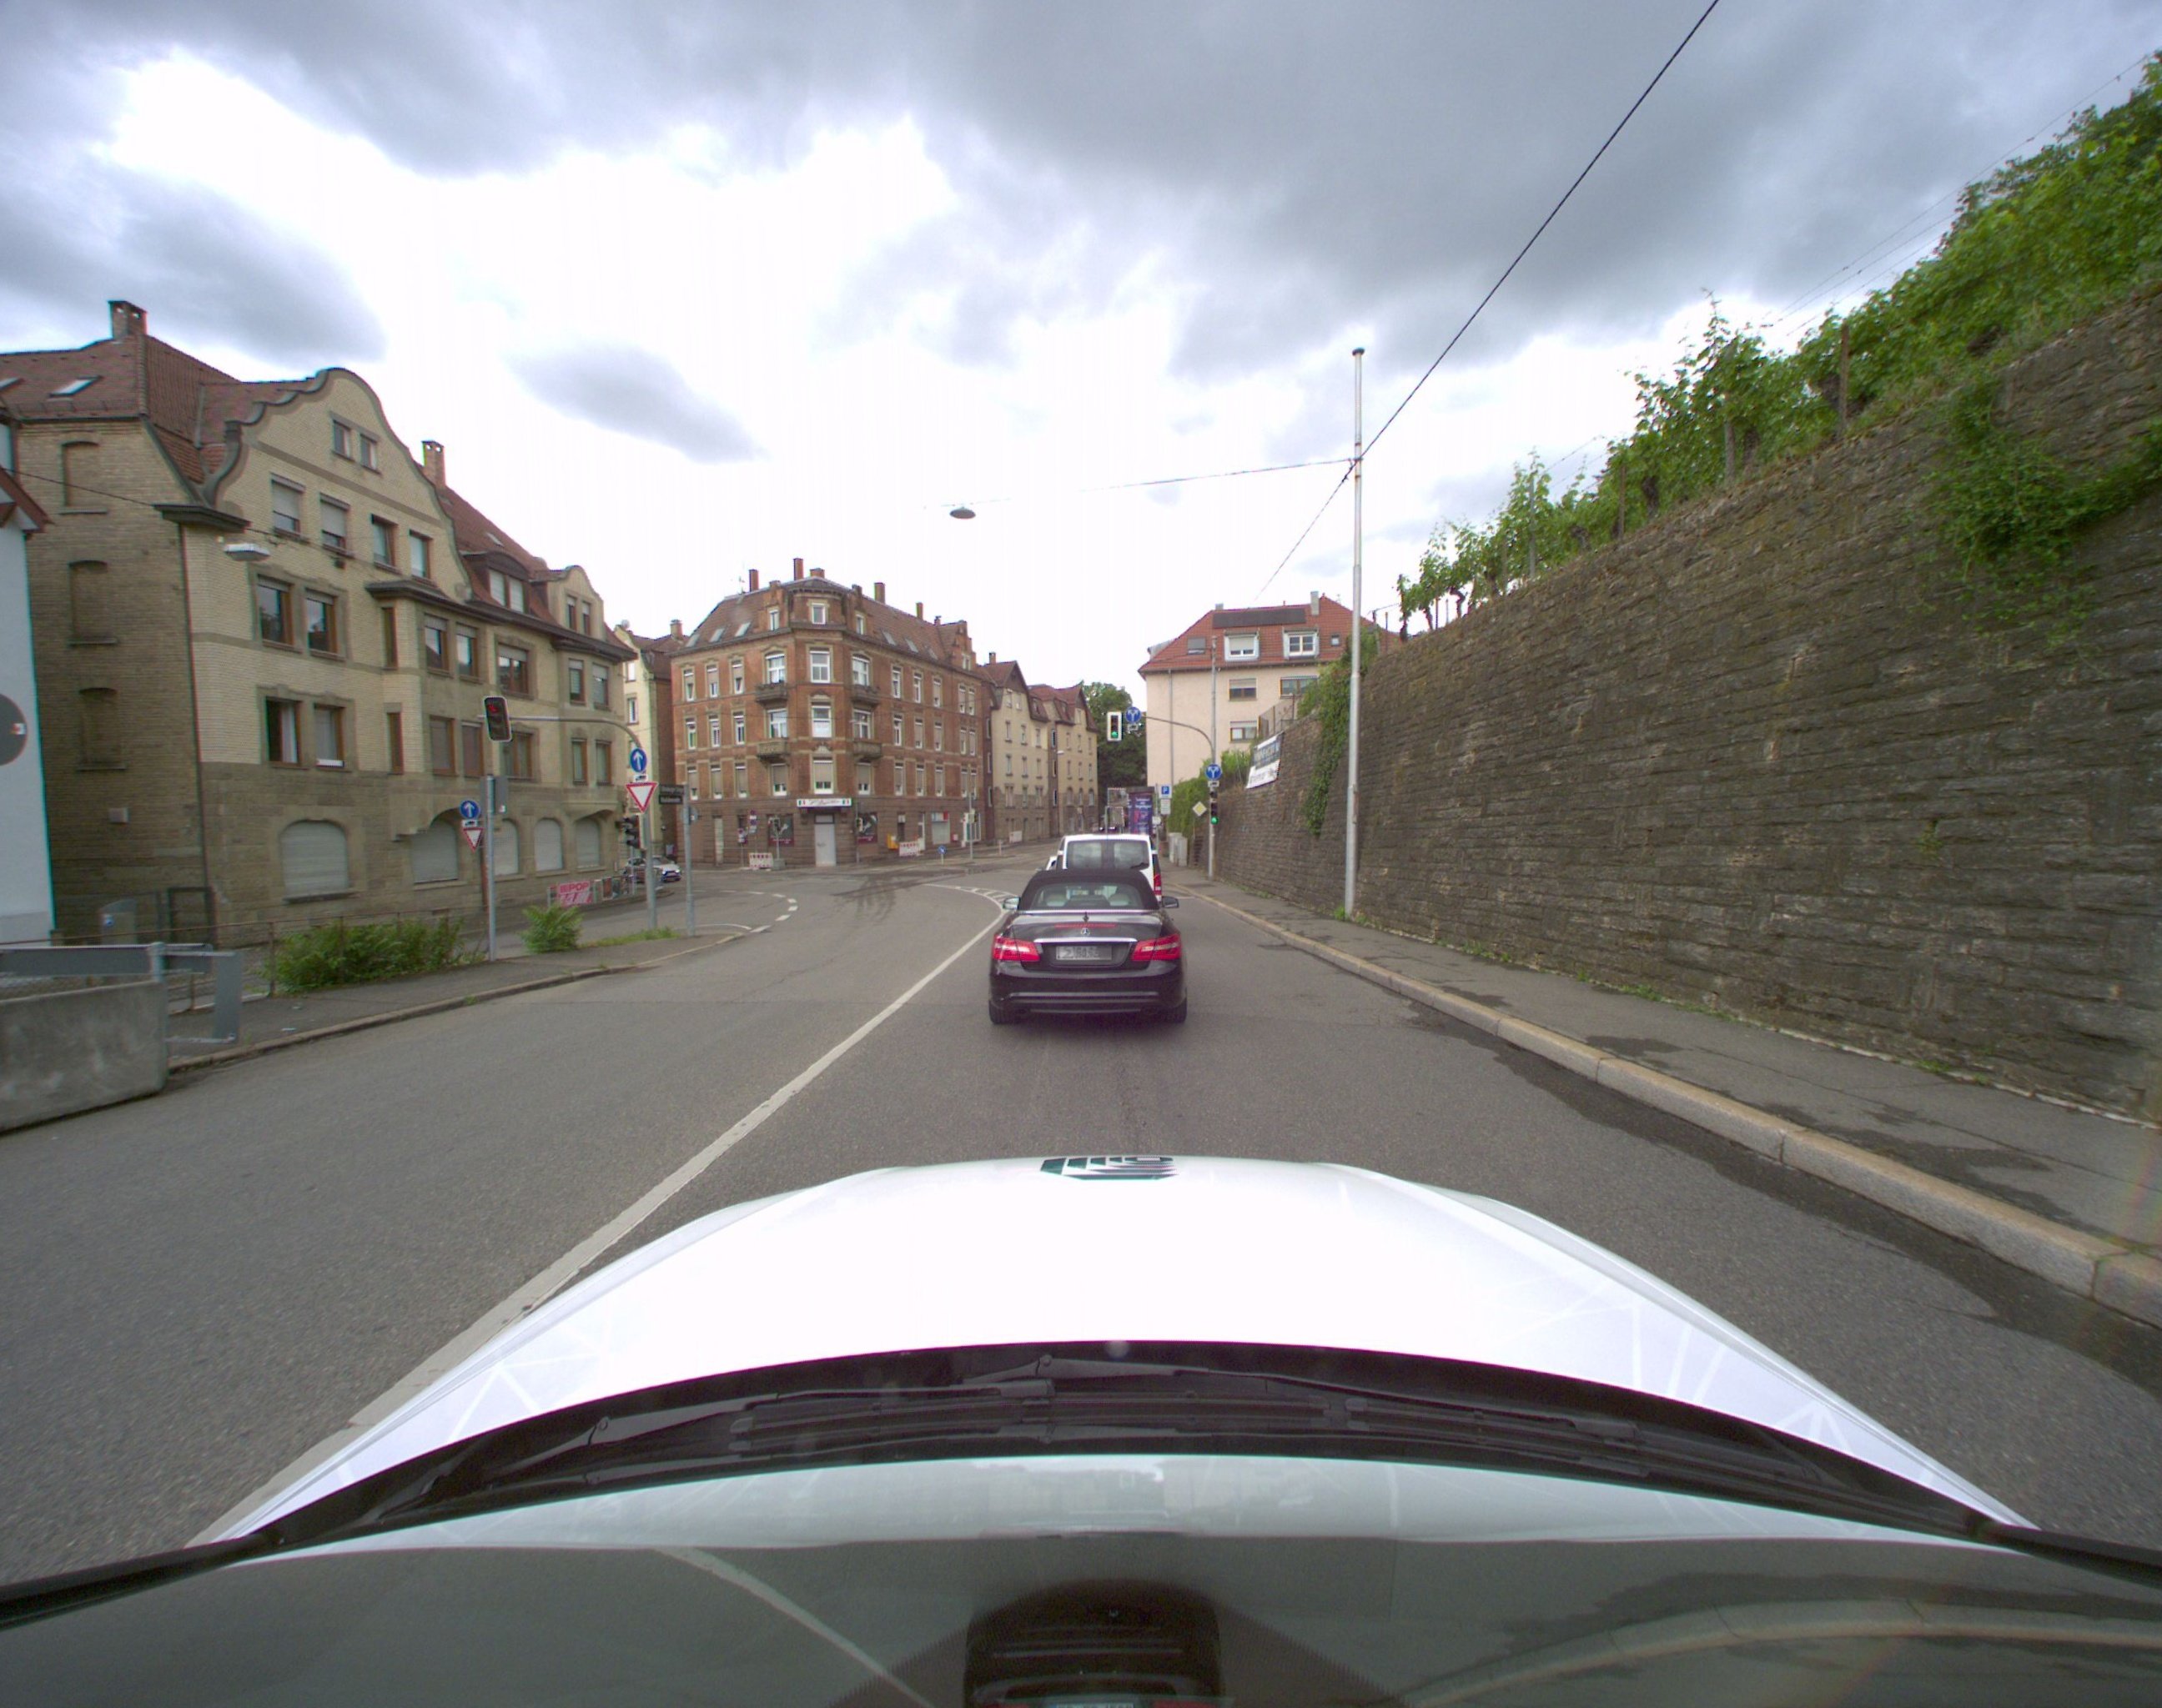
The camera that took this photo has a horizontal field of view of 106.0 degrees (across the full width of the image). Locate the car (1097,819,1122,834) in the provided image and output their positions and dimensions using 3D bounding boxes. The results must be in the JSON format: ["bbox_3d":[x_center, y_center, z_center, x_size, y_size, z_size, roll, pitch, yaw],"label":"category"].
[{"bbox_3d":[3.371,-3.157,94.359,1.979,1.514,4.304,-1,3,14],"label":"car"}]

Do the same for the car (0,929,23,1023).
[{"bbox_3d":[-19.067,2.122,11.847,1.676,1.555,4.235,-3,0,1],"label":"car"}]

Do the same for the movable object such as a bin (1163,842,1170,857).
[{"bbox_3d":[5.213,-0.289,49.818,0.343,0.911,0.494,-1,0,-4],"label":"movable object such as a bin"}]

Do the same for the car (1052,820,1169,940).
[{"bbox_3d":[0.554,0.409,15.469,1.884,1.929,4.647,0,0,2],"label":"car"}]

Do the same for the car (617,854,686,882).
[{"bbox_3d":[-23.974,0.745,45.455,3.597,1.467,1.685,0,0,28],"label":"car"}]

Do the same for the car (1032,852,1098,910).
[{"bbox_3d":[-0.373,0.694,22.933,1.674,1.466,3.920,0,0,2],"label":"car"}]

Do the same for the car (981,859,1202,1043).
[{"bbox_3d":[0.152,0.781,8.675,1.755,1.409,4.400,0,0,2],"label":"car"}]
